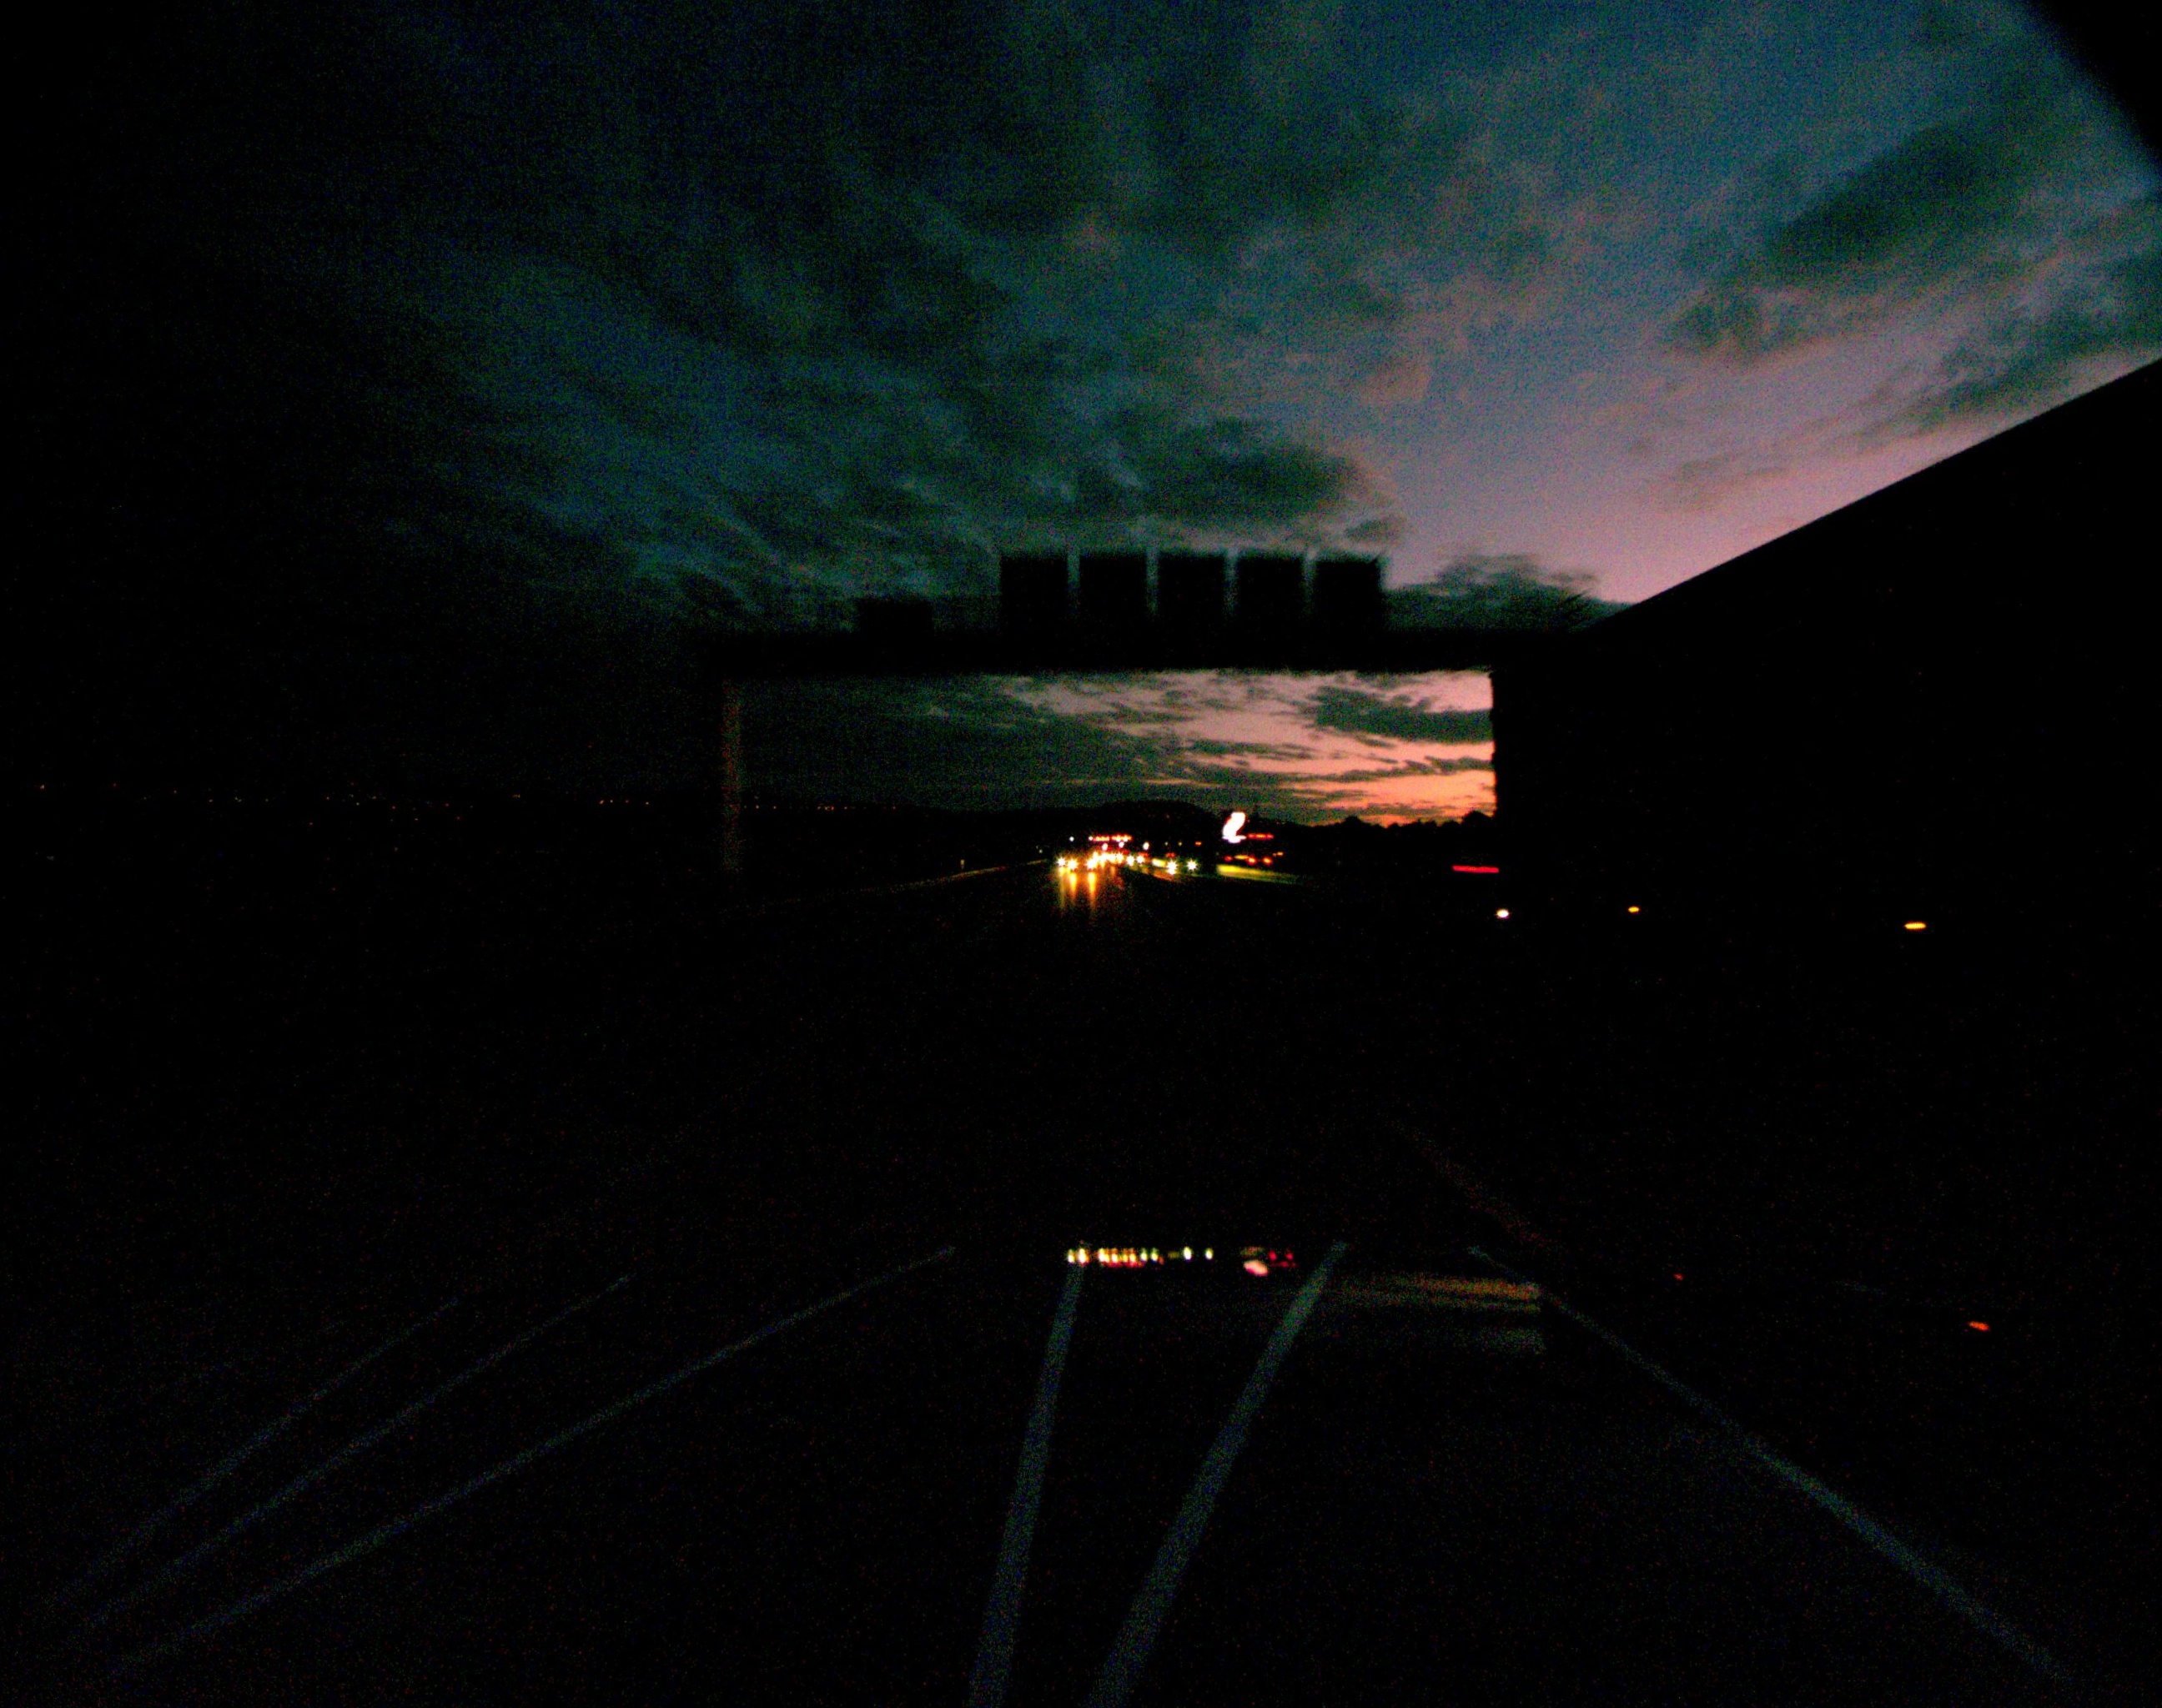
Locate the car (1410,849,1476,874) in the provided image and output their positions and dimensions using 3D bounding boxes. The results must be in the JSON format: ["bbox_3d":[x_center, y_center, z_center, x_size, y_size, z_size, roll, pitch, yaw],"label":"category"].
[{"bbox_3d":[19.945,0.389,42.018,1.736,1.280,4.000,-2,0,1],"label":"car"}]

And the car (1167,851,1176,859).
[{"bbox_3d":[24.543,0.240,206.998,1.998,2.002,4.000,-2,0,1],"label":"car"}]

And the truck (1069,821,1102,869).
[{"bbox_3d":[0.453,-0.779,80.887,3.012,4.570,12.578,-2,-1,0],"label":"truck"}]

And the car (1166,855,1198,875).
[{"bbox_3d":[7.942,0.825,60.242,1.819,1.429,5.394,-2,0,0],"label":"car"}]

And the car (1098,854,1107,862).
[{"bbox_3d":[4.464,0.791,156.875,1.802,1.531,4.159,-2,0,0],"label":"car"}]

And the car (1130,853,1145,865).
[{"bbox_3d":[8.328,0.721,112.721,1.819,1.638,4.856,-2,0,0],"label":"car"}]

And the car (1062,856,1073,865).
[{"bbox_3d":[-2.021,1.011,116.370,1.513,1.246,4.000,-2,0,1],"label":"car"}]

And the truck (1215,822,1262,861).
[{"bbox_3d":[24.607,-1.920,119.099,5.332,5.756,9.643,-2,0,1],"label":"truck"}]

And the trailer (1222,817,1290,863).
[{"bbox_3d":[24.411,-1.829,108.045,5.317,5.752,19.212,-2,0,1],"label":"trailer"}]

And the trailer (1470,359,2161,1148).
[{"bbox_3d":[6.963,-0.528,3.762,2.801,4.061,14.525,-1,0,1],"label":"trailer"}]

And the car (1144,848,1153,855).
[{"bbox_3d":[18.295,-0.711,207.055,1.998,2.002,4.000,-2,0,1],"label":"car"}]
